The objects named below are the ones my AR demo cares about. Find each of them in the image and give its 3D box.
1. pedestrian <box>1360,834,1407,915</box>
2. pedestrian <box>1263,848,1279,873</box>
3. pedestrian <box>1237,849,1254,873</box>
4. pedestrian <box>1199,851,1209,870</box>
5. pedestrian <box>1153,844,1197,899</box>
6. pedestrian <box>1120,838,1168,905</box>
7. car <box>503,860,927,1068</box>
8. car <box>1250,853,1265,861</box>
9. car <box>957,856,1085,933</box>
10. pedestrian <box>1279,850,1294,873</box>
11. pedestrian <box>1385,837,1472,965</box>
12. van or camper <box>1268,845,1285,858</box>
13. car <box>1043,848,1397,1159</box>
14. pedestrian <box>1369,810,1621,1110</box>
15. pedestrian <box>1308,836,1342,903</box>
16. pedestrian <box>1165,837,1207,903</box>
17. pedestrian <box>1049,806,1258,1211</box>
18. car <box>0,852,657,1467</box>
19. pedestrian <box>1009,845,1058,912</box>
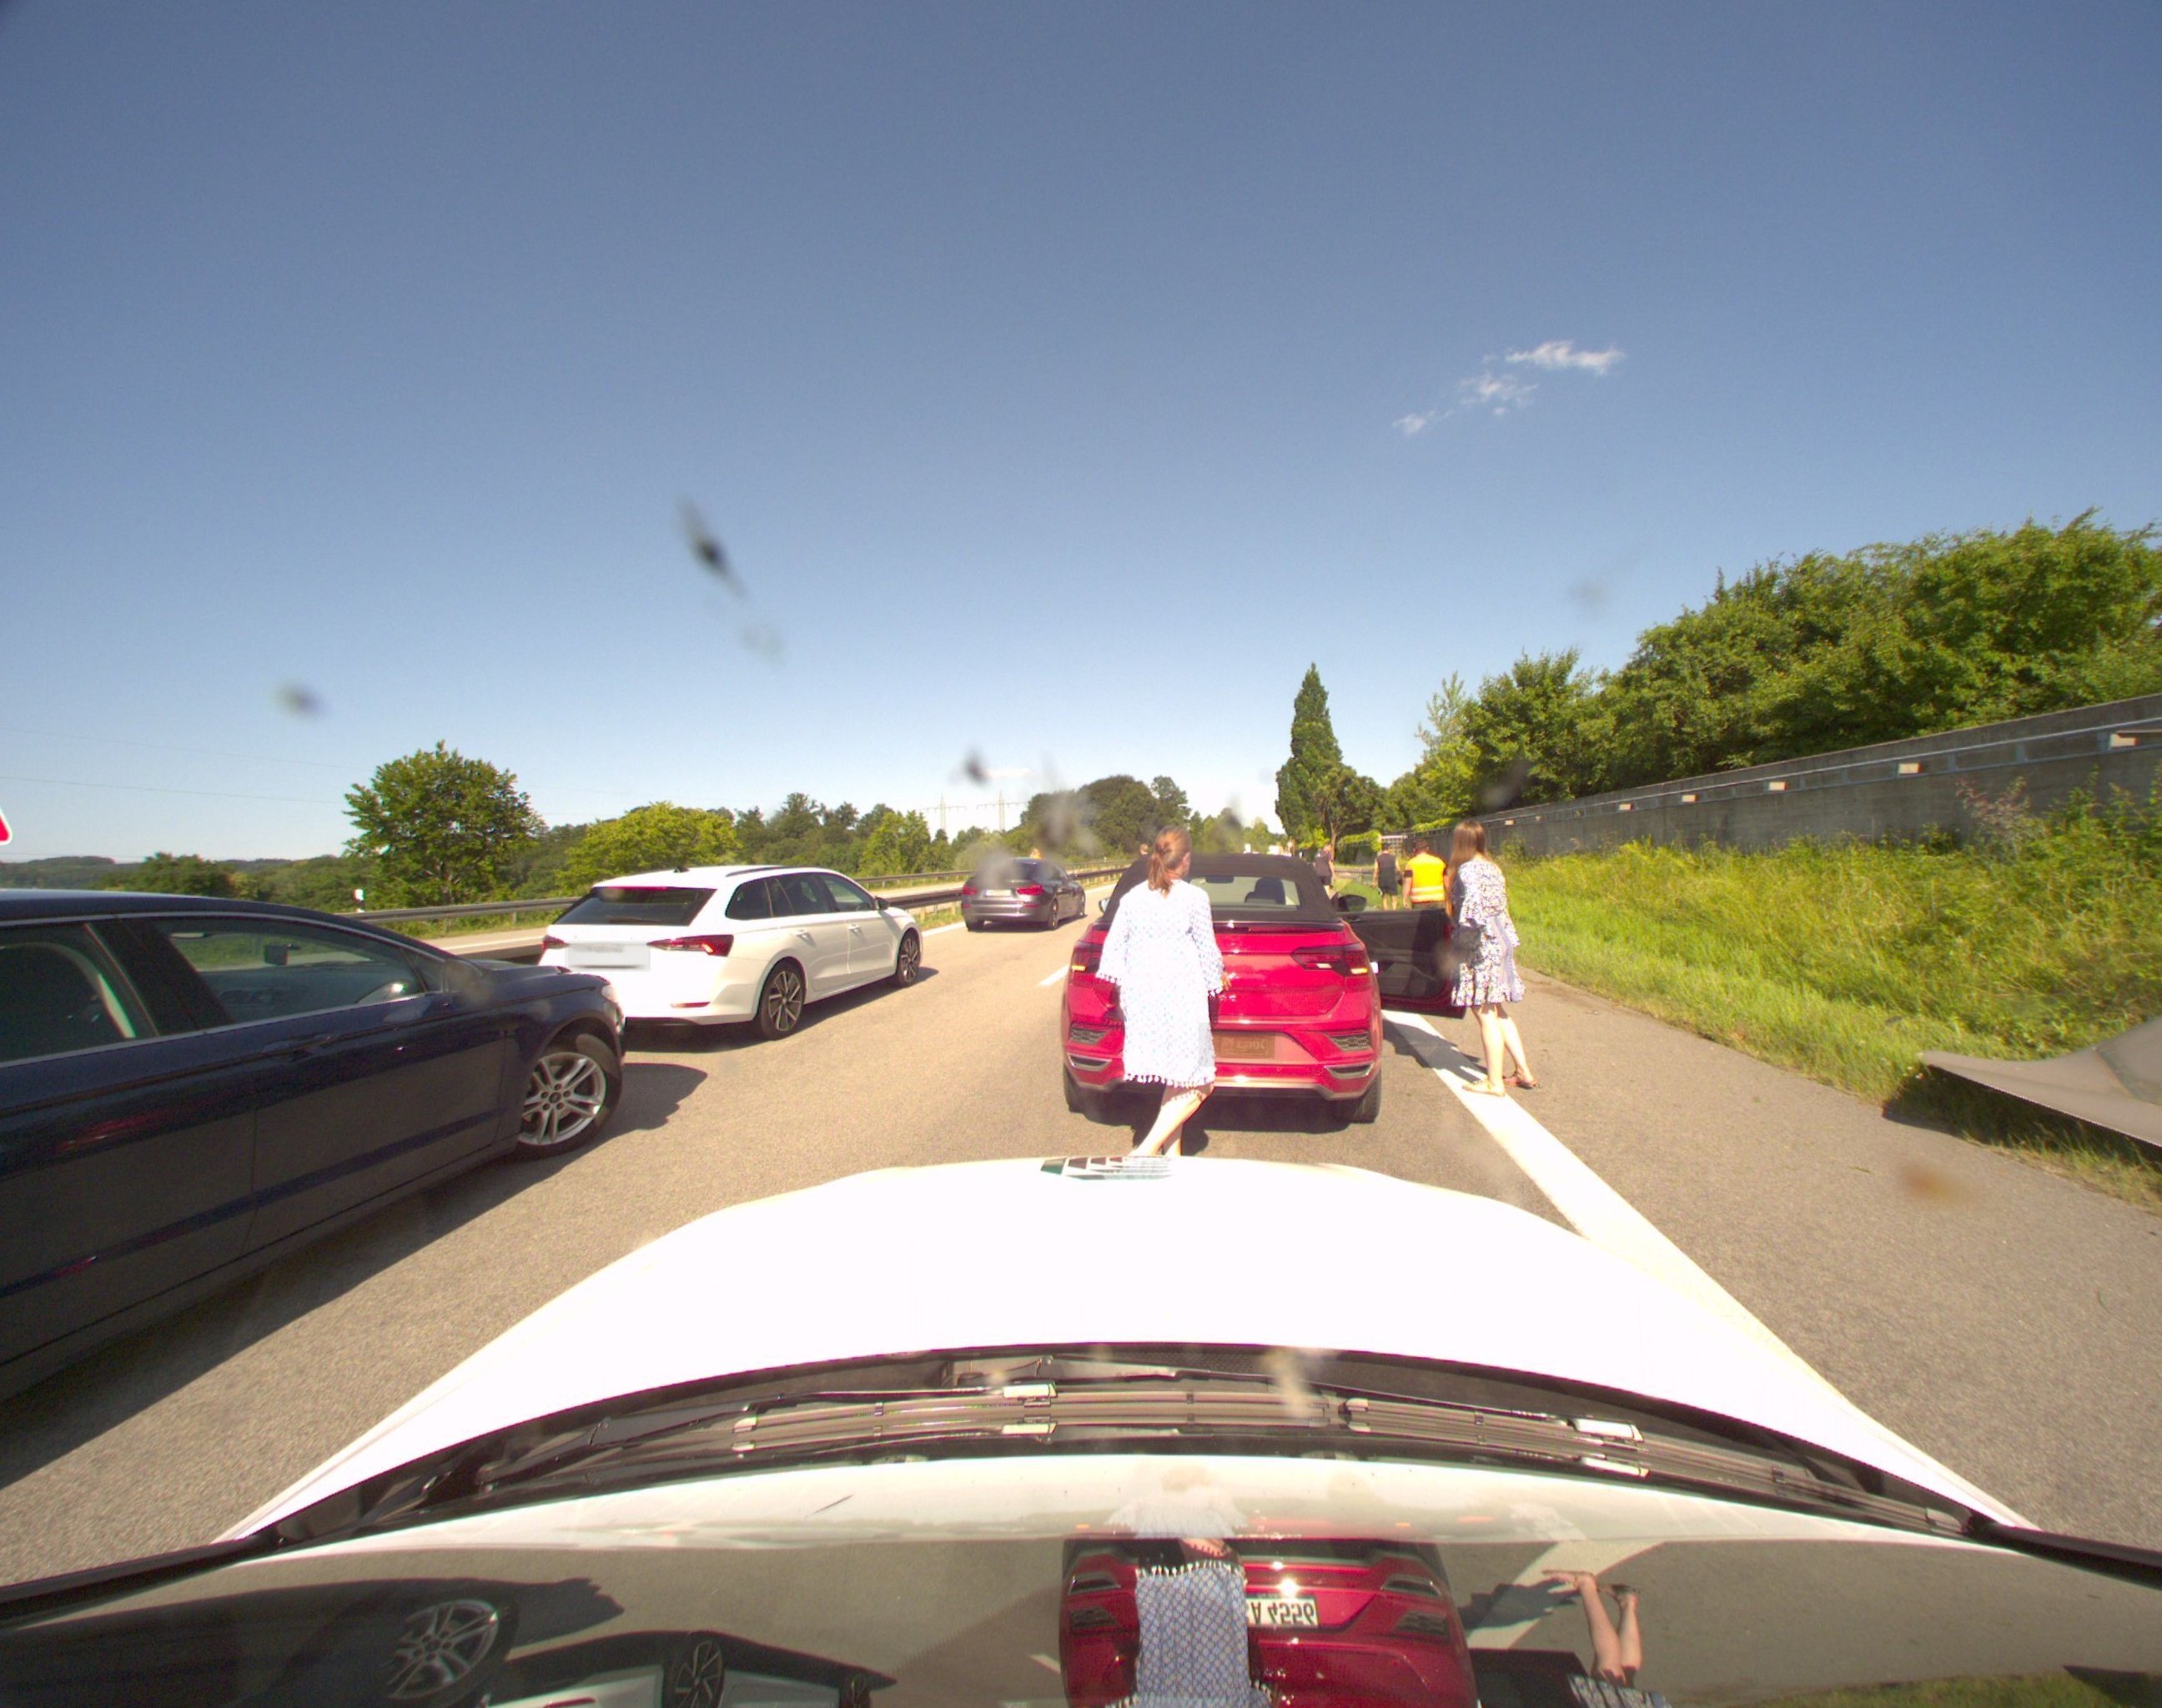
[{"bbox_3d":[6.565,0.439,17.710,0.888,1.725,0.757,0,-1,14],"label":"pedestrian"},{"bbox_3d":[13.367,0.465,57.213,1.047,1.689,1.022,0,-1,17],"label":"pedestrian"},{"bbox_3d":[11.659,0.519,57.653,1.106,1.689,0.976,0,-1,12],"label":"pedestrian"},{"bbox_3d":[11.345,0.600,75.020,0.785,1.689,0.795,0,-1,15],"label":"pedestrian"},{"bbox_3d":[3.132,0.573,27.190,1.092,1.789,1.100,0,-1,-20],"label":"pedestrian"},{"bbox_3d":[1.820,0.495,23.397,1.056,1.883,1.099,-2,0,19],"label":"pedestrian"},{"bbox_3d":[-3.105,0.806,8.032,1.684,1.441,4.223,0,0,11],"label":"car"},{"bbox_3d":[33.879,0.614,156.512,1.716,1.487,4.235,-1,0,27],"label":"car"},{"bbox_3d":[-1.139,0.780,17.659,1.684,1.426,4.347,0,0,11],"label":"car"},{"bbox_3d":[15.087,0.550,59.869,0.988,1.689,1.015,0,-1,18],"label":"pedestrian"},{"bbox_3d":[4.742,0.616,11.210,0.950,1.654,1.284,-2,0,19],"label":"pedestrian"},{"bbox_3d":[37.123,-0.421,154.425,1.975,2.316,4.497,-1,-1,28],"label":"van or camper"},{"bbox_3d":[1.048,0.717,6.121,1.721,1.487,4.223,0,0,11],"label":"car"},{"bbox_3d":[2.530,0.617,5.126,1.119,1.695,0.894,-2,0,5],"label":"pedestrian"},{"bbox_3d":[6.539,0.415,21.811,0.805,1.759,0.832,0,-1,19],"label":"pedestrian"},{"bbox_3d":[3.175,0.471,24.801,1.101,1.912,1.258,-2,0,3],"label":"pedestrian"},{"bbox_3d":[0.365,0.651,3.821,0.834,1.683,0.746,-2,-1,10],"label":"pedestrian"},{"bbox_3d":[-3.519,0.771,2.636,1.781,1.493,4.495,-2,0,2],"label":"car"},{"bbox_3d":[-1.305,0.668,22.576,1.033,1.763,1.122,-2,0,13],"label":"pedestrian"}]
